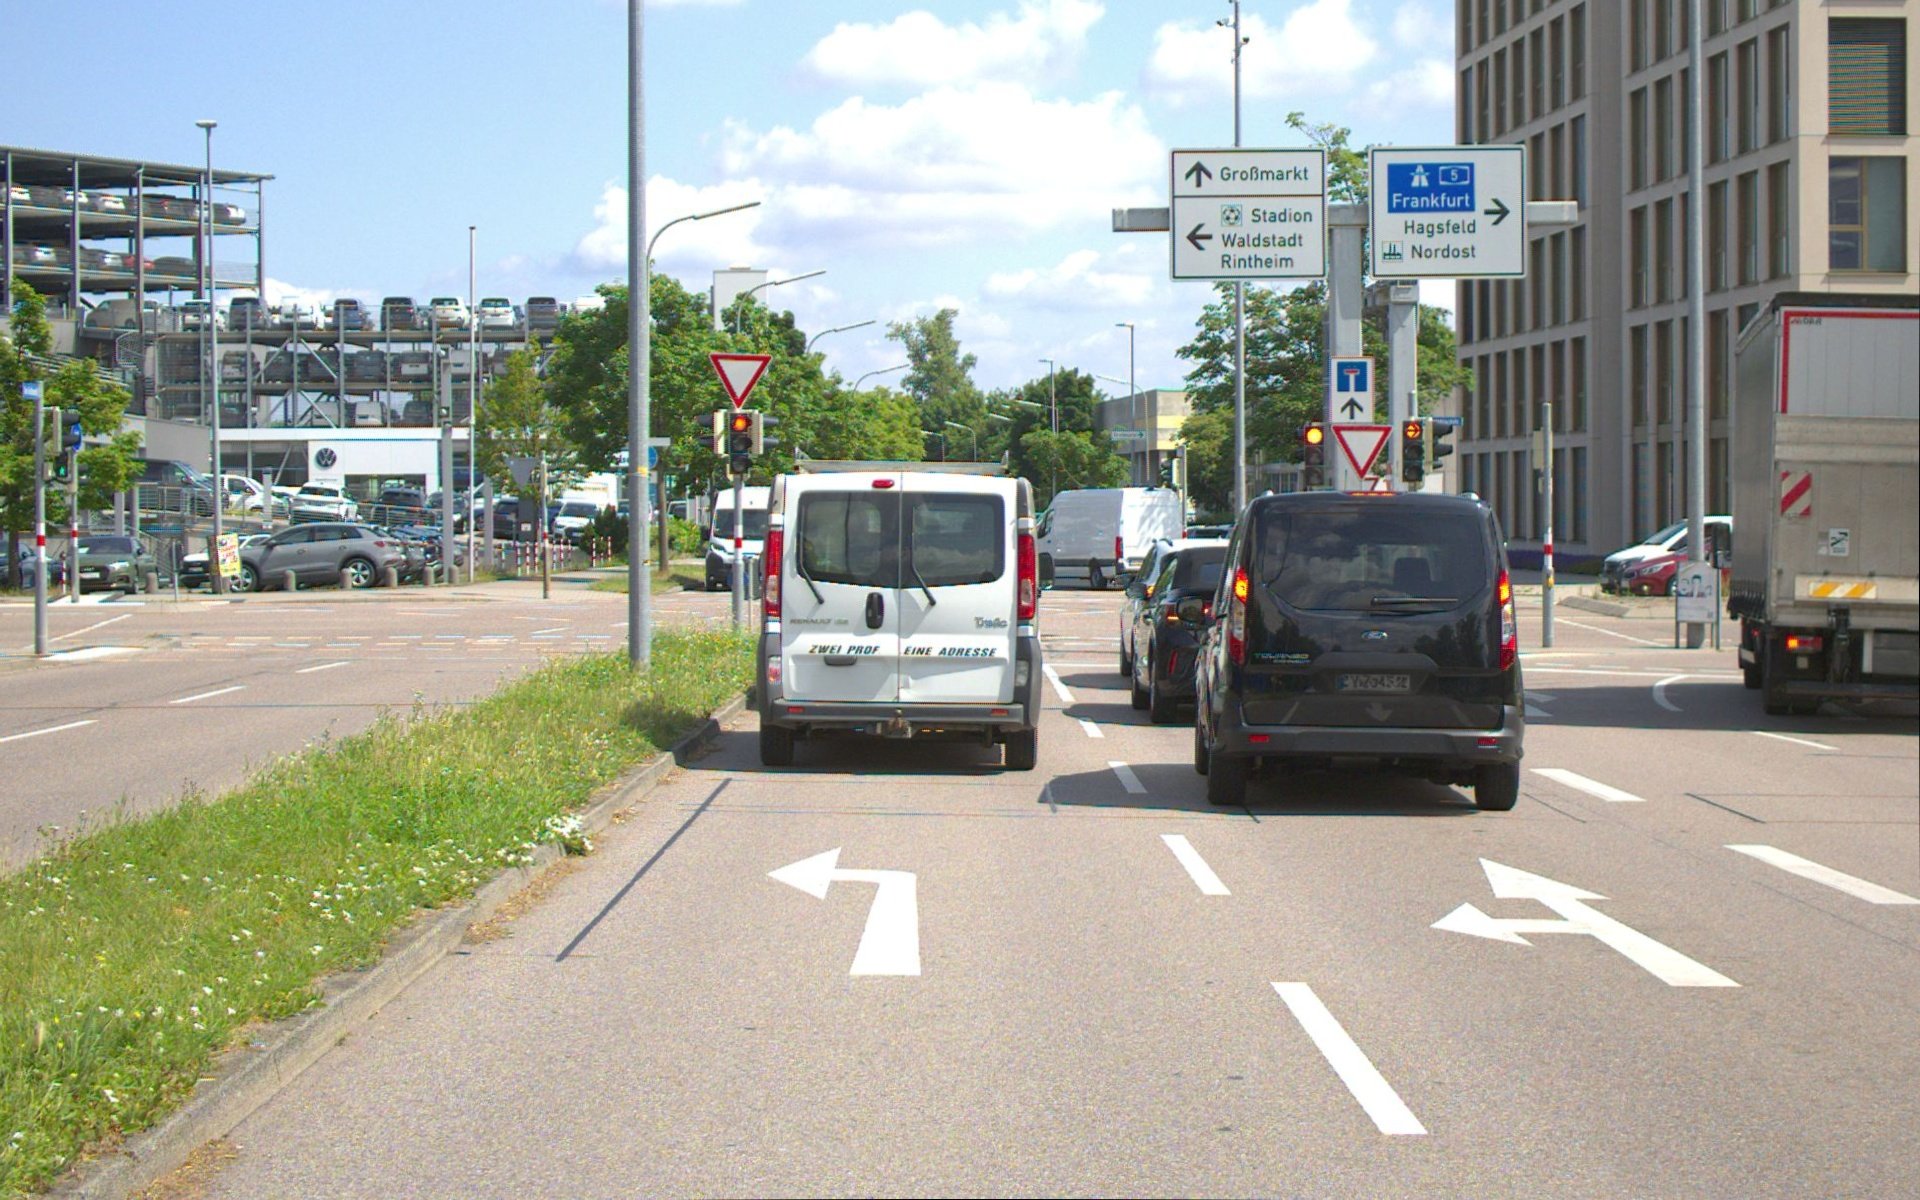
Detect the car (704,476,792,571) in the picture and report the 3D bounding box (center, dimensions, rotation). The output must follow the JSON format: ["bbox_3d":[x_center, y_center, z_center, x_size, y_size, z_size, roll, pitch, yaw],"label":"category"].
[{"bbox_3d":[-5.274,-1.923,85.078,1.971,2.248,4.982,-1,2,-5],"label":"car"}]

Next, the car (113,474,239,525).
[{"bbox_3d":[-27.649,-3.539,121.323,4.164,1.707,1.689,1,1,-6],"label":"car"}]

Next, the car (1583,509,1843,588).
[{"bbox_3d":[15.967,-1.102,72.988,4.981,1.602,2.001,0,2,-8],"label":"car"}]

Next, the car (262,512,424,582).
[{"bbox_3d":[-16.004,-1.392,89.293,3.912,1.707,1.689,-1,2,-4],"label":"car"}]

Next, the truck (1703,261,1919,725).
[{"bbox_3d":[8.969,-0.982,33.485,3.131,3.927,8.854,1,1,11],"label":"truck"}]

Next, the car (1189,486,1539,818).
[{"bbox_3d":[2.375,0.246,21.108,1.820,1.802,4.000,1,1,3],"label":"car"}]

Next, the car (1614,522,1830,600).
[{"bbox_3d":[15.235,-0.787,68.863,3.893,1.485,1.795,1,2,-1],"label":"car"}]

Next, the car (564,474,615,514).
[{"bbox_3d":[-14.486,-4.138,134.617,1.846,1.524,4.001,0,2,-5],"label":"car"}]

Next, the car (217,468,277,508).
[{"bbox_3d":[-28.128,-4.430,135.751,1.846,1.524,4.001,0,2,-5],"label":"car"}]

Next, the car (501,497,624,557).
[{"bbox_3d":[-13.109,-2.415,113.493,3.986,1.919,1.827,1,1,-6],"label":"car"}]

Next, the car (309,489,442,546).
[{"bbox_3d":[-19.193,-2.713,113.012,4.164,1.707,1.689,2,2,-6],"label":"car"}]

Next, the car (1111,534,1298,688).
[{"bbox_3d":[2.579,0.086,37.068,1.740,1.538,4.000,1,1,1],"label":"car"}]

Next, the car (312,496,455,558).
[{"bbox_3d":[-16.832,-2.136,100.514,3.912,1.707,1.689,-1,2,-4],"label":"car"}]

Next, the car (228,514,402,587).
[{"bbox_3d":[-15.397,-1.195,82.259,3.861,1.634,1.858,-1,2,-4],"label":"car"}]

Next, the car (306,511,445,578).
[{"bbox_3d":[-15.736,-1.514,92.707,3.507,1.707,1.604,-1,2,-4],"label":"car"}]

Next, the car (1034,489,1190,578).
[{"bbox_3d":[3.950,-1.773,90.428,1.993,2.247,5.516,0,2,-22],"label":"car"}]

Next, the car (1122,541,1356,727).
[{"bbox_3d":[2.388,0.255,30.232,1.740,1.490,4.000,1,1,1],"label":"car"}]

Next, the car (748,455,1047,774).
[{"bbox_3d":[-0.353,0.063,23.996,1.856,2.011,4.000,1,1,2],"label":"car"}]

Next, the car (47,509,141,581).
[{"bbox_3d":[-19.472,-1.239,77.218,1.816,1.546,4.001,1,1,-17],"label":"car"}]

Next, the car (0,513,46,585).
[{"bbox_3d":[-21.420,-1.161,76.697,1.816,1.546,4.001,1,1,-17],"label":"car"}]

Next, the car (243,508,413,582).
[{"bbox_3d":[-15.537,-1.368,84.698,3.912,1.707,1.689,-1,2,-4],"label":"car"}]
